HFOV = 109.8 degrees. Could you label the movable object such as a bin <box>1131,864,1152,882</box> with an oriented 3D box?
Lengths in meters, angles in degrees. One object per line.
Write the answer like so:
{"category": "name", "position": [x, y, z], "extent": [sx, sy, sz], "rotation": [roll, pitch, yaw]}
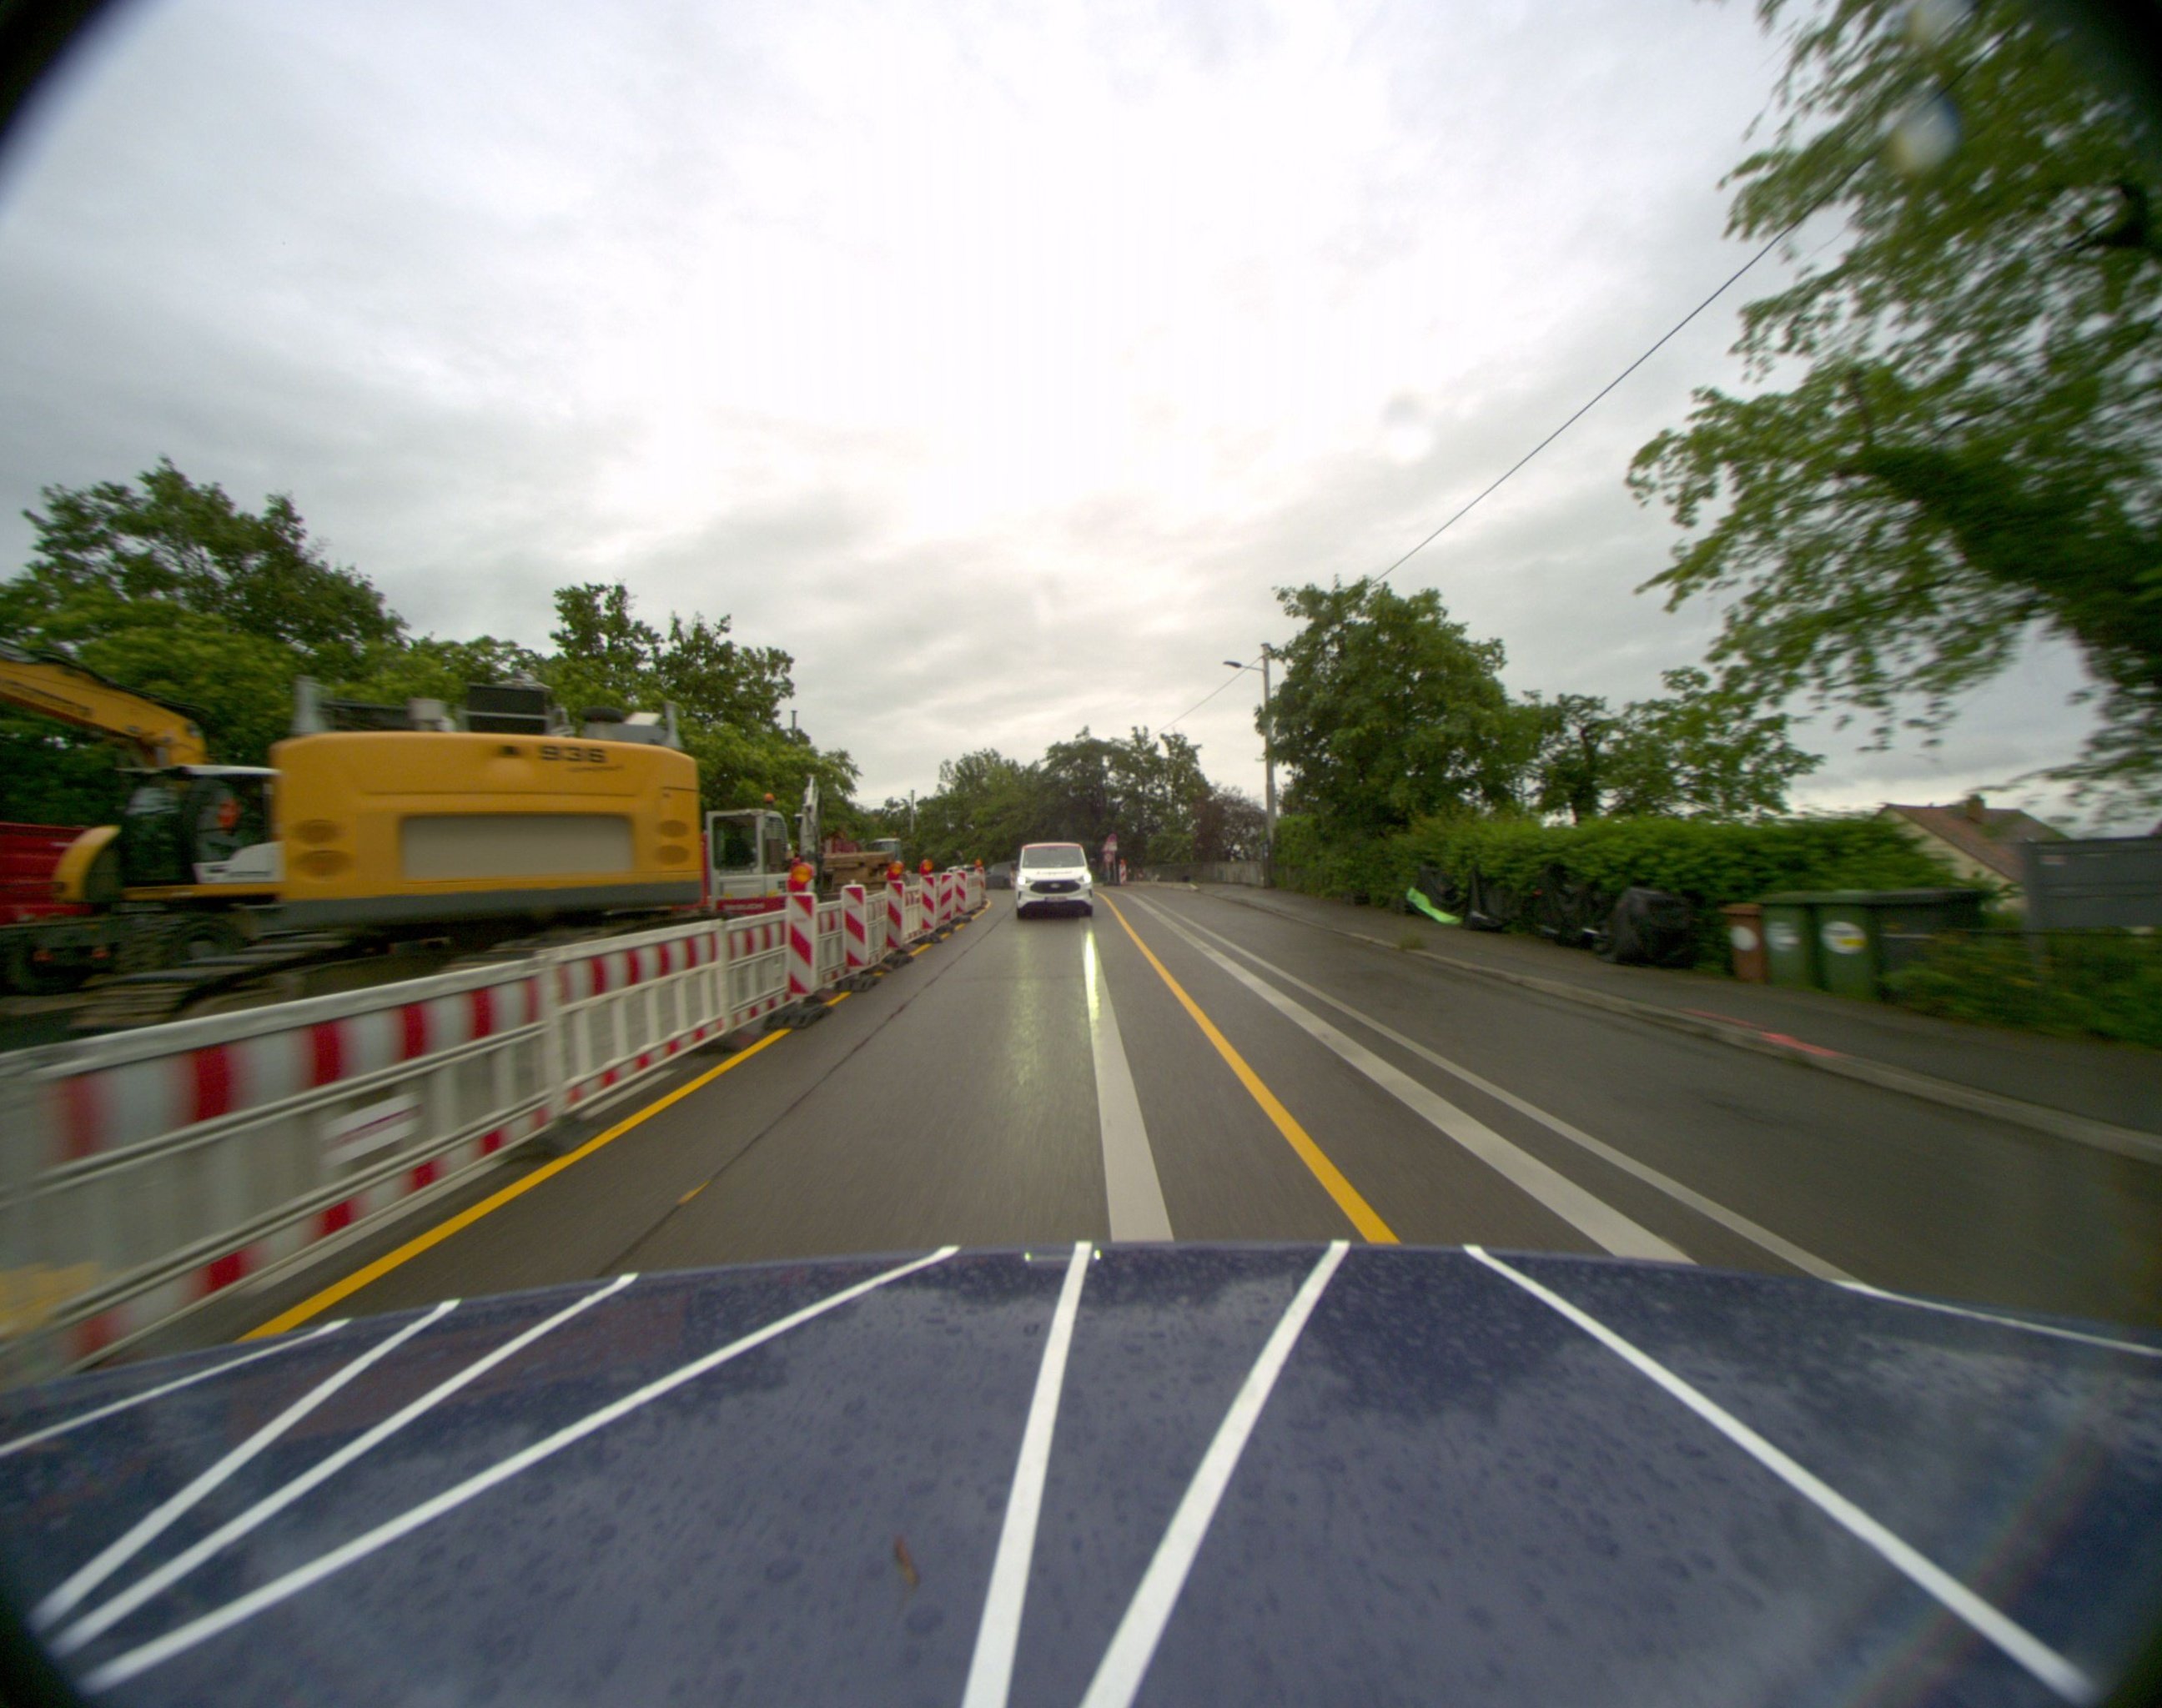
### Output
{"category": "movable object such as a bin", "position": [3.763, 1.187, 47.324], "extent": [0.990, 1.099, 1.026], "rotation": [1, -2, -20]}

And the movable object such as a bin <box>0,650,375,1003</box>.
{"category": "movable object such as a bin", "position": [-12.935, -0.253, 10.566], "extent": [1.999, 3.865, 4.616], "rotation": [-1, 0, -3]}

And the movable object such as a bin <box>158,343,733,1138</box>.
{"category": "movable object such as a bin", "position": [-7.533, -0.799, 9.949], "extent": [3.072, 4.891, 10.788], "rotation": [-3, 3, -37]}

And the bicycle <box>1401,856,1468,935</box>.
{"category": "bicycle", "position": [6.602, 0.736, 14.266], "extent": [0.421, 1.342, 1.742], "rotation": [-1, 1, 0]}

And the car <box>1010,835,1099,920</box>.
{"category": "car", "position": [-0.590, 0.653, 21.108], "extent": [1.998, 2.001, 4.951], "rotation": [-2, -2, 2]}

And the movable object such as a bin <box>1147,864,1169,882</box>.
{"category": "movable object such as a bin", "position": [4.804, 1.209, 47.547], "extent": [0.990, 1.099, 1.026], "rotation": [1, -4, -20]}

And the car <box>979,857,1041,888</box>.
{"category": "car", "position": [-5.035, 1.309, 53.194], "extent": [2.004, 2.001, 4.937], "rotation": [0, -2, -37]}

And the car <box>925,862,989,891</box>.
{"category": "car", "position": [-9.456, 1.769, 57.810], "extent": [4.801, 2.001, 1.876], "rotation": [-4, -3, 36]}

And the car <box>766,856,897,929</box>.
{"category": "car", "position": [-6.771, 0.974, 21.278], "extent": [1.999, 1.769, 4.997], "rotation": [-1, -1, 0]}

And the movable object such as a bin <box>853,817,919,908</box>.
{"category": "movable object such as a bin", "position": [-8.030, 0.497, 31.747], "extent": [2.082, 3.204, 5.285], "rotation": [-2, -6, -9]}

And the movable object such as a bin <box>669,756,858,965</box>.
{"category": "movable object such as a bin", "position": [-5.593, 0.039, 13.986], "extent": [1.999, 3.287, 3.832], "rotation": [-1, 2, -4]}

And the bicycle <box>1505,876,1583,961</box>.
{"category": "bicycle", "position": [6.653, 0.895, 10.964], "extent": [0.339, 1.101, 1.256], "rotation": [-1, 1, -1]}

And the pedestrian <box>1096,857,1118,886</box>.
{"category": "pedestrian", "position": [1.610, 1.064, 46.768], "extent": [0.927, 1.757, 0.978], "rotation": [0, -2, -30]}
